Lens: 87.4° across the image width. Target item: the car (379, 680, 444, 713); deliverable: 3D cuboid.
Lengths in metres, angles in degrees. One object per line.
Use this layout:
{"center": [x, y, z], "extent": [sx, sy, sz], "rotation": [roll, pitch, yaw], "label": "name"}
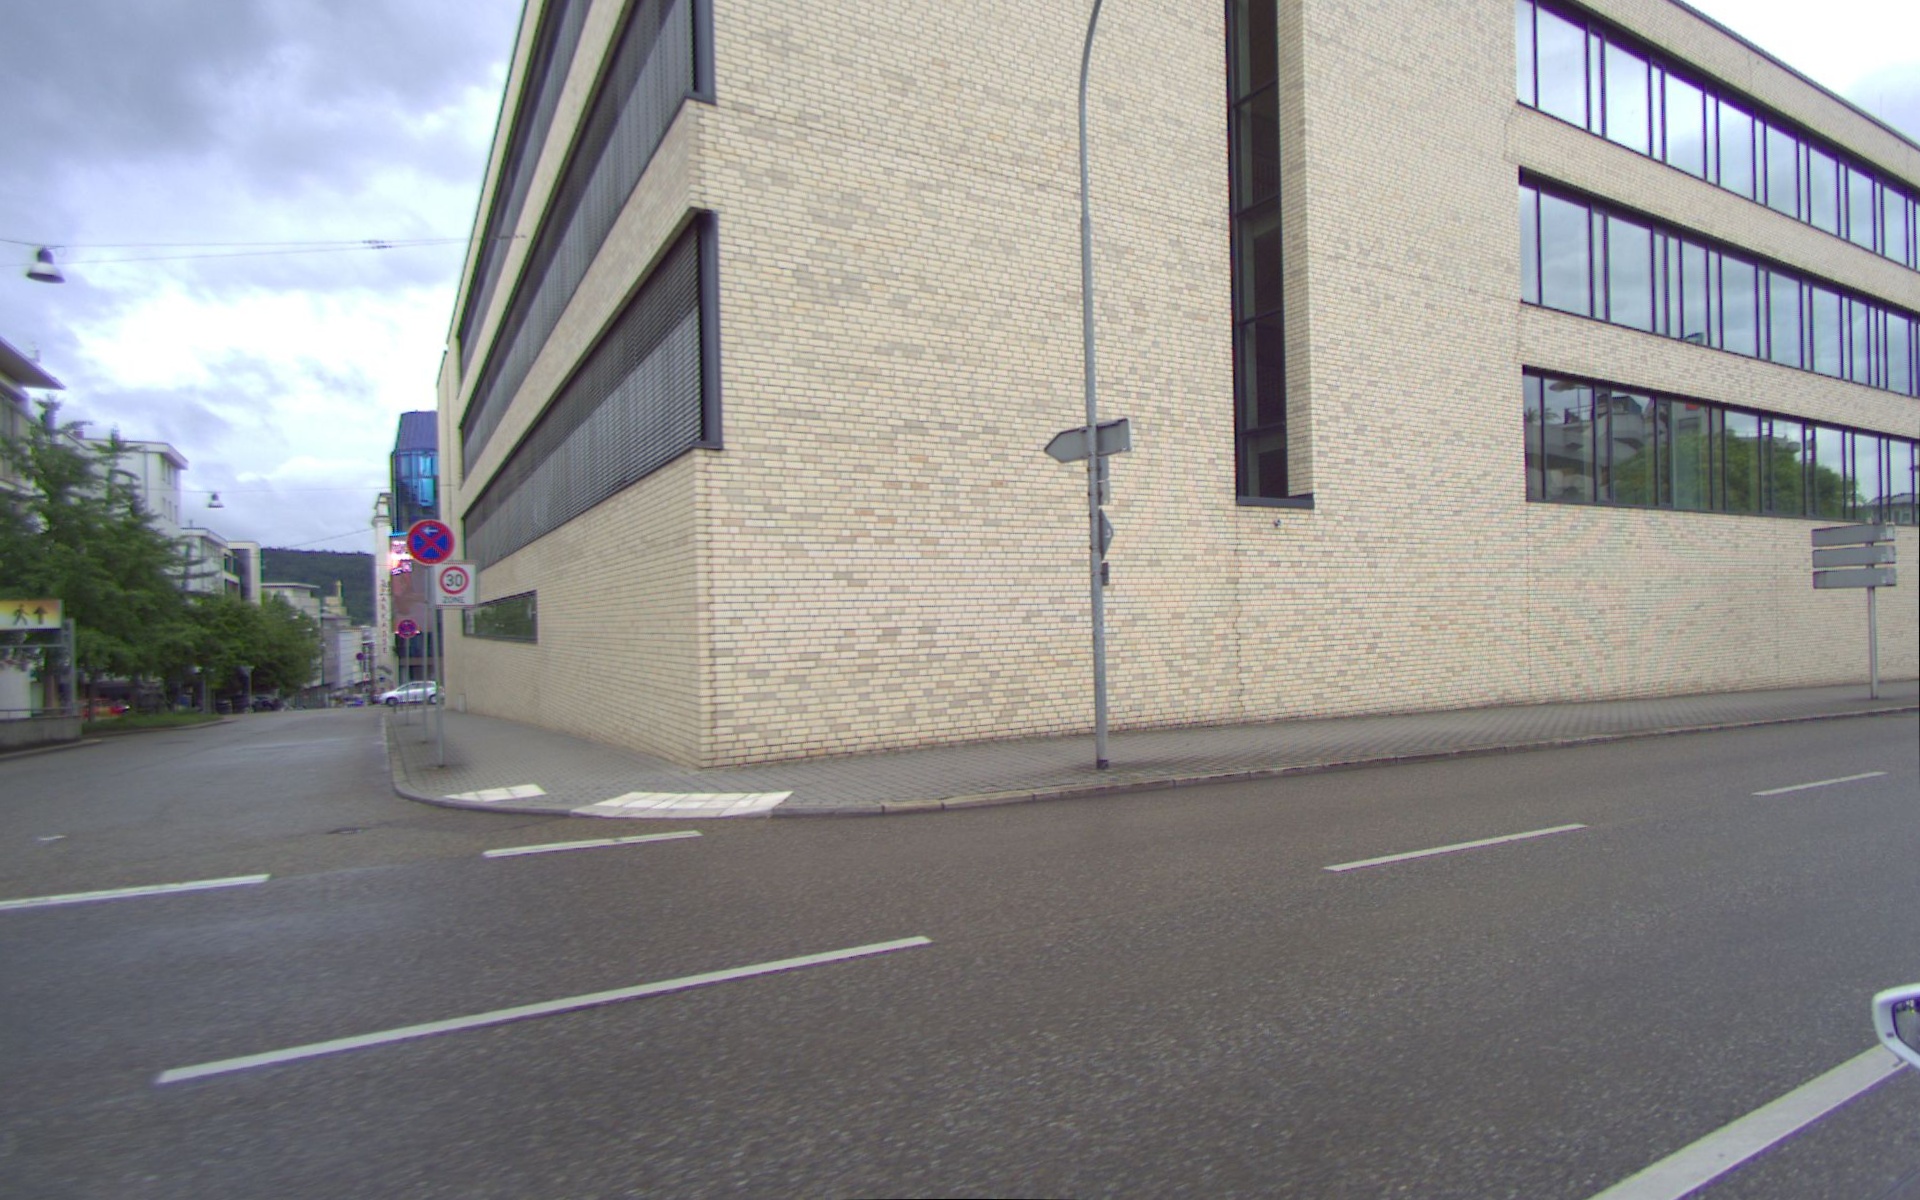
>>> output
{"center": [-37.335, 6.560, 68.480], "extent": [3.720, 2.040, 1.988], "rotation": [2, 0, -24], "label": "car"}
